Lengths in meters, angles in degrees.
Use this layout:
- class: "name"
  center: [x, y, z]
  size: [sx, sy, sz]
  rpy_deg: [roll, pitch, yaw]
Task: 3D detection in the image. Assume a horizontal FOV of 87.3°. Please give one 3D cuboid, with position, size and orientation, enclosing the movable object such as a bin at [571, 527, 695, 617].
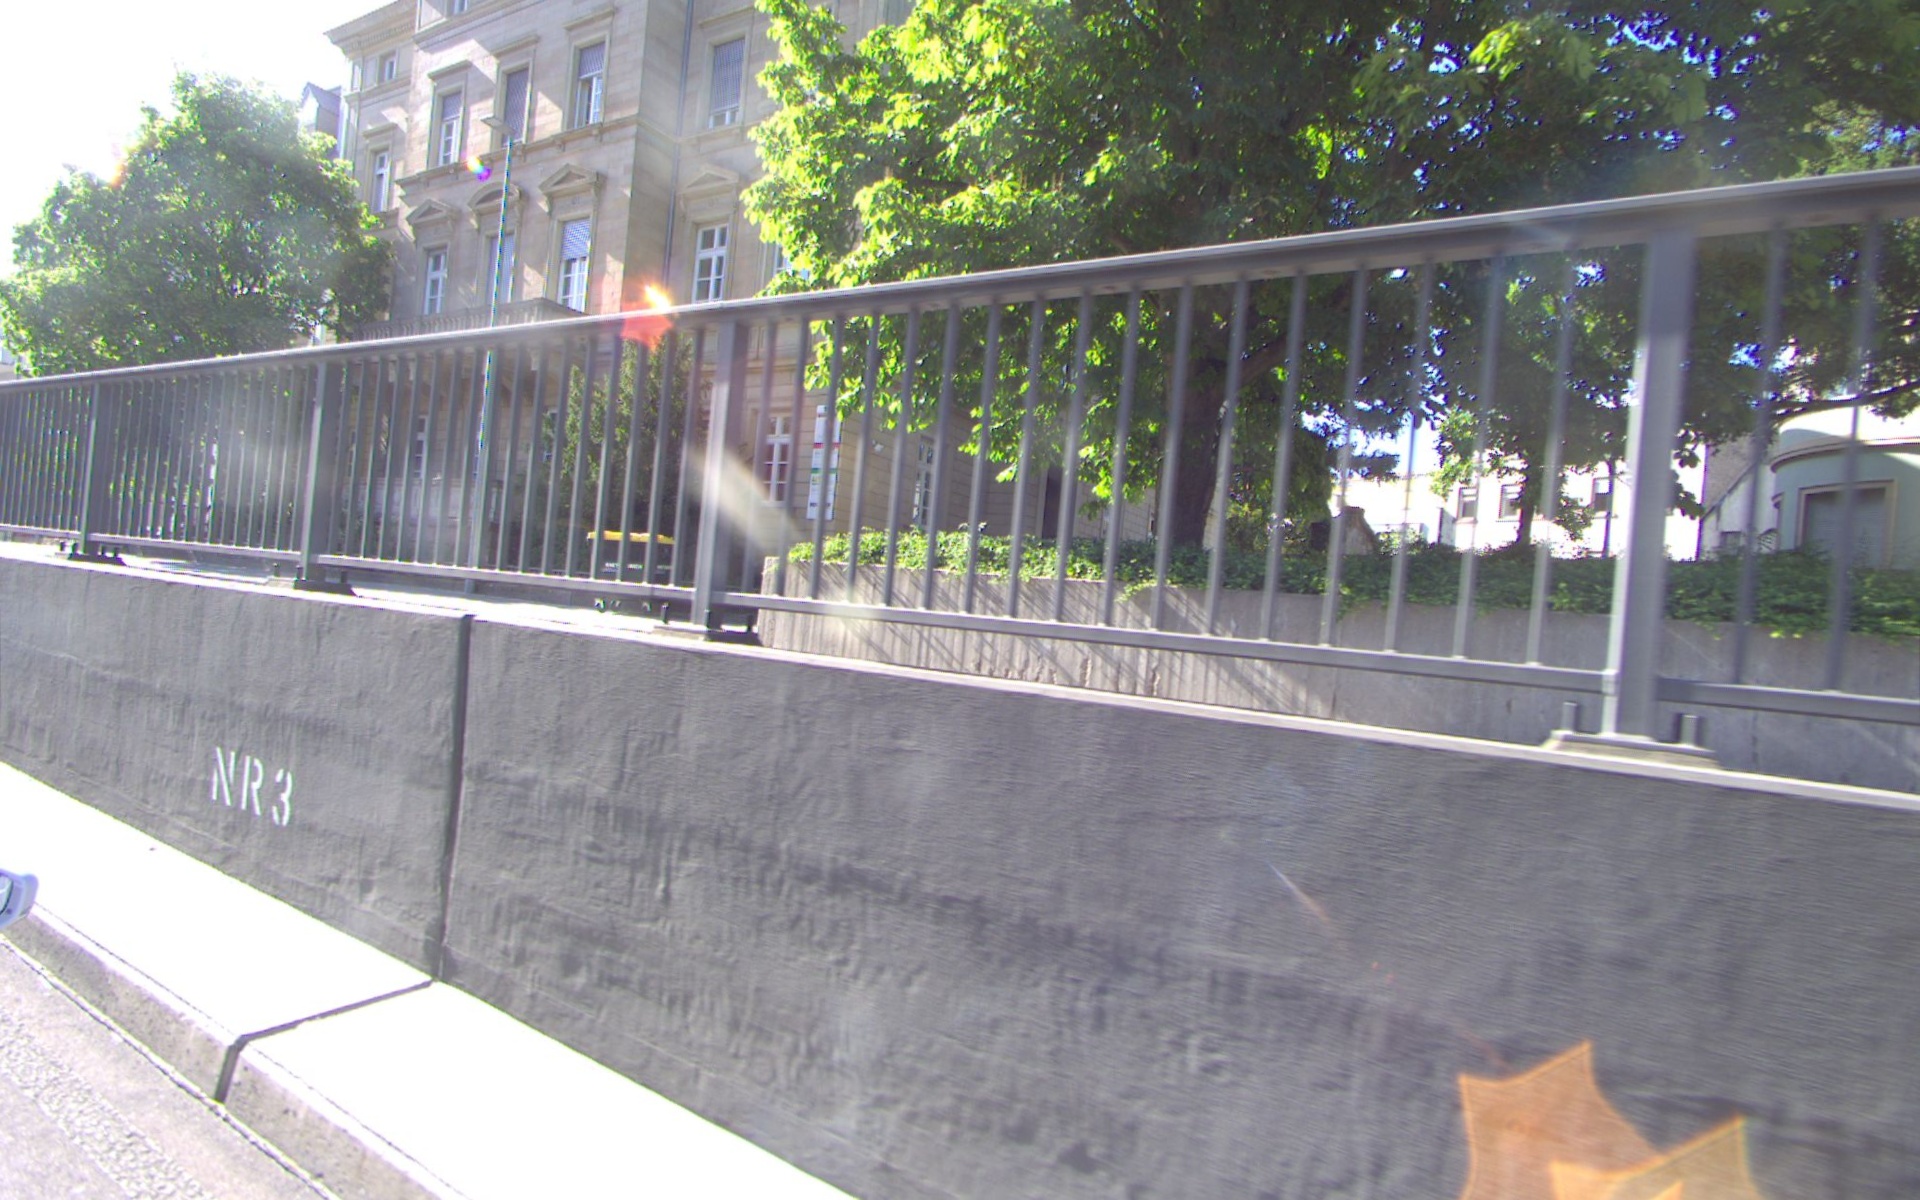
- class: "movable object such as a bin"
  center: [-5.518, -0.492, 17.070]
  size: [1.383, 1.344, 1.448]
  rpy_deg: [6, 5, 14]
